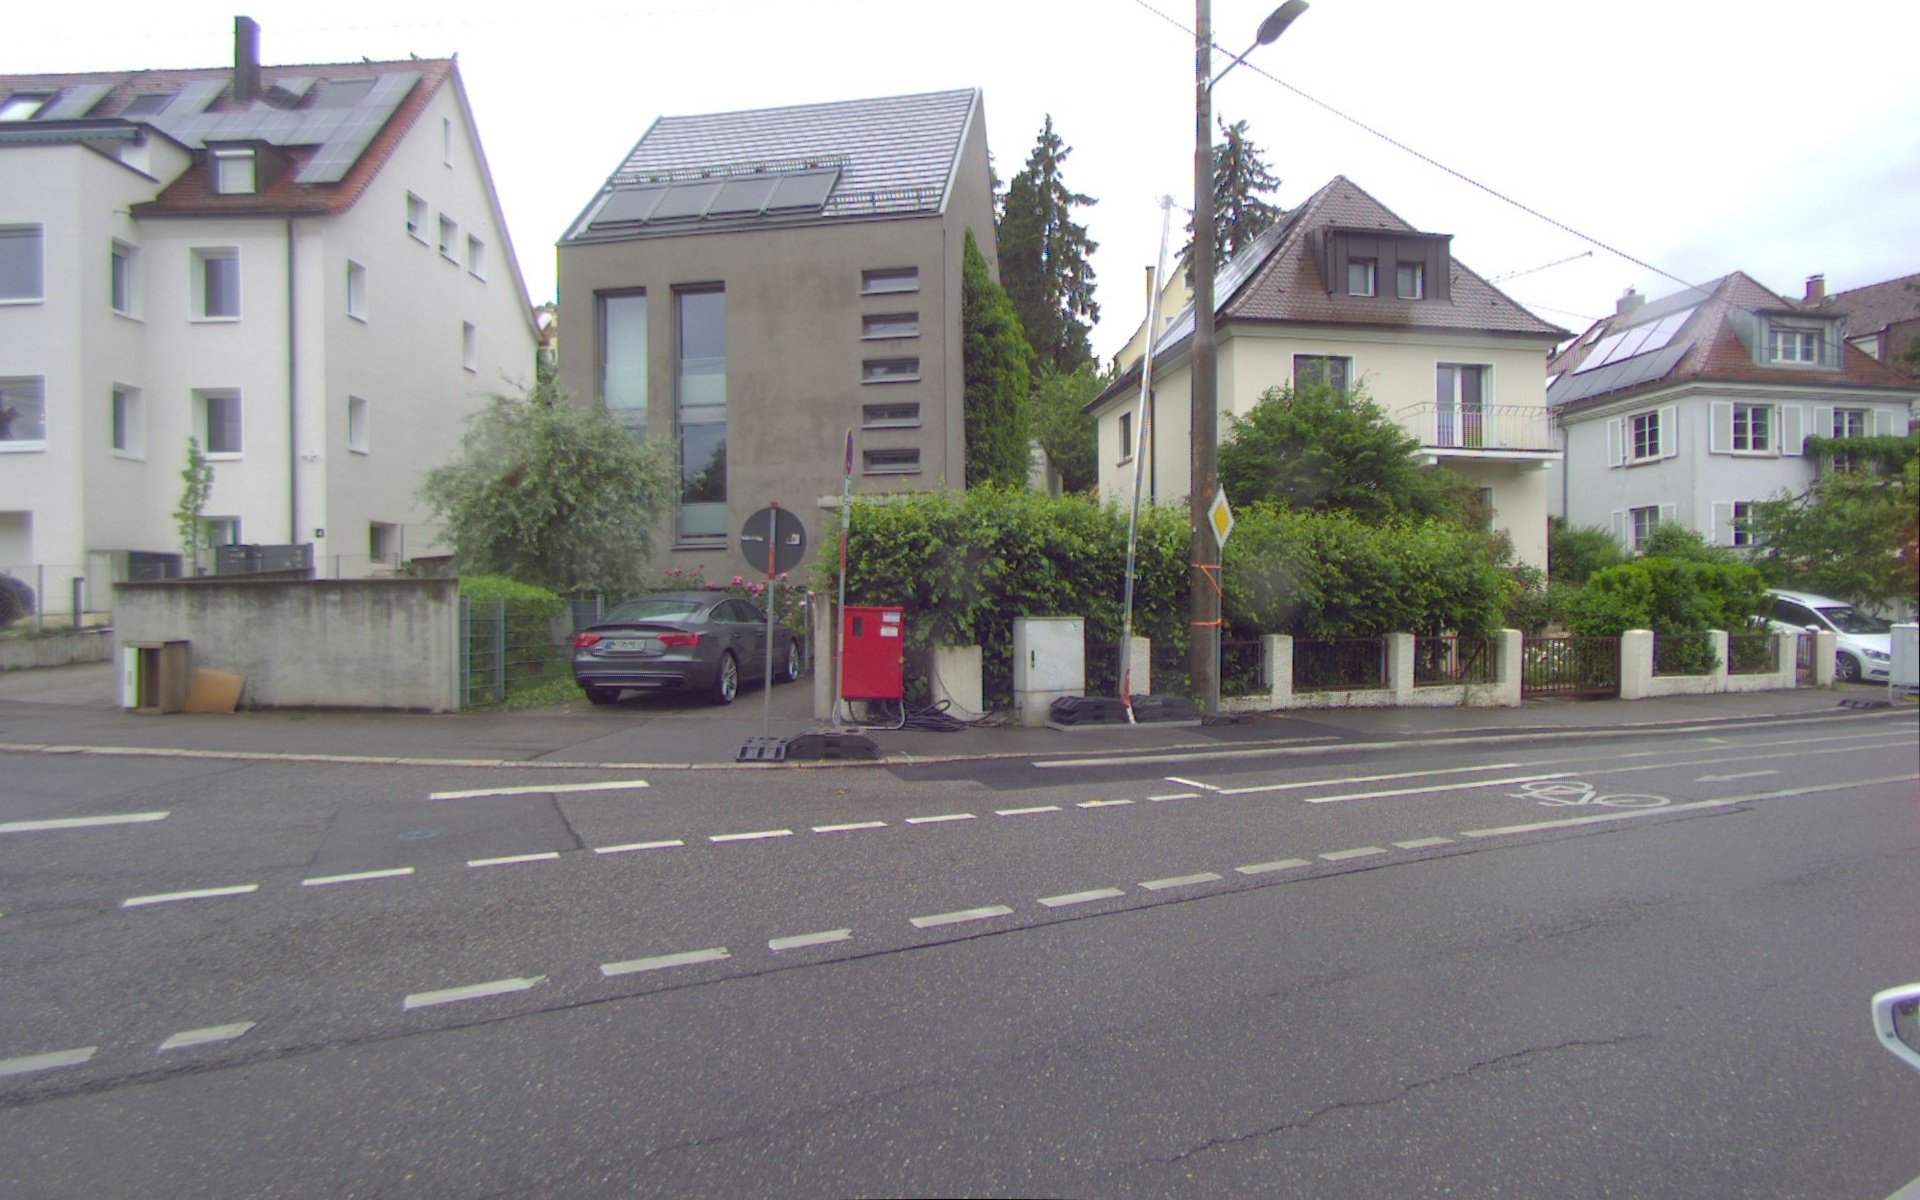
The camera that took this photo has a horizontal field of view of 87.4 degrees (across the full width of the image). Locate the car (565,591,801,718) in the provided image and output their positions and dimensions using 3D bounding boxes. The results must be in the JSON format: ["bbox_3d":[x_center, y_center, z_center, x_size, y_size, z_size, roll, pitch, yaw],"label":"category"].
[{"bbox_3d":[-3.539,0.604,13.708,1.581,1.387,4.265,0,1,7],"label":"car"}]

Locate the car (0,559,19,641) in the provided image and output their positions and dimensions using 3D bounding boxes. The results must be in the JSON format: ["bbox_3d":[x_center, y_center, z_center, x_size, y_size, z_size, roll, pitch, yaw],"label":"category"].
[{"bbox_3d":[-16.824,0.066,15.074,1.536,1.350,3.923,1,3,3],"label":"car"}]

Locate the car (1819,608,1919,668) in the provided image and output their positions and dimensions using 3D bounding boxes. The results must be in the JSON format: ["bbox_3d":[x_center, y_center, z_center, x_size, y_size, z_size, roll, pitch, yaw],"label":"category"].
[{"bbox_3d":[25.939,1.044,26.967,1.909,1.546,3.986,2,0,-16],"label":"car"}]

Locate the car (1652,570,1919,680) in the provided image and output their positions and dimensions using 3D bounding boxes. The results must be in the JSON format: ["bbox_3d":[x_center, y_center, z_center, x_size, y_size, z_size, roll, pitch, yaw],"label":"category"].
[{"bbox_3d":[19.567,0.475,23.910,1.833,1.639,4.960,0,10,-15],"label":"car"}]
